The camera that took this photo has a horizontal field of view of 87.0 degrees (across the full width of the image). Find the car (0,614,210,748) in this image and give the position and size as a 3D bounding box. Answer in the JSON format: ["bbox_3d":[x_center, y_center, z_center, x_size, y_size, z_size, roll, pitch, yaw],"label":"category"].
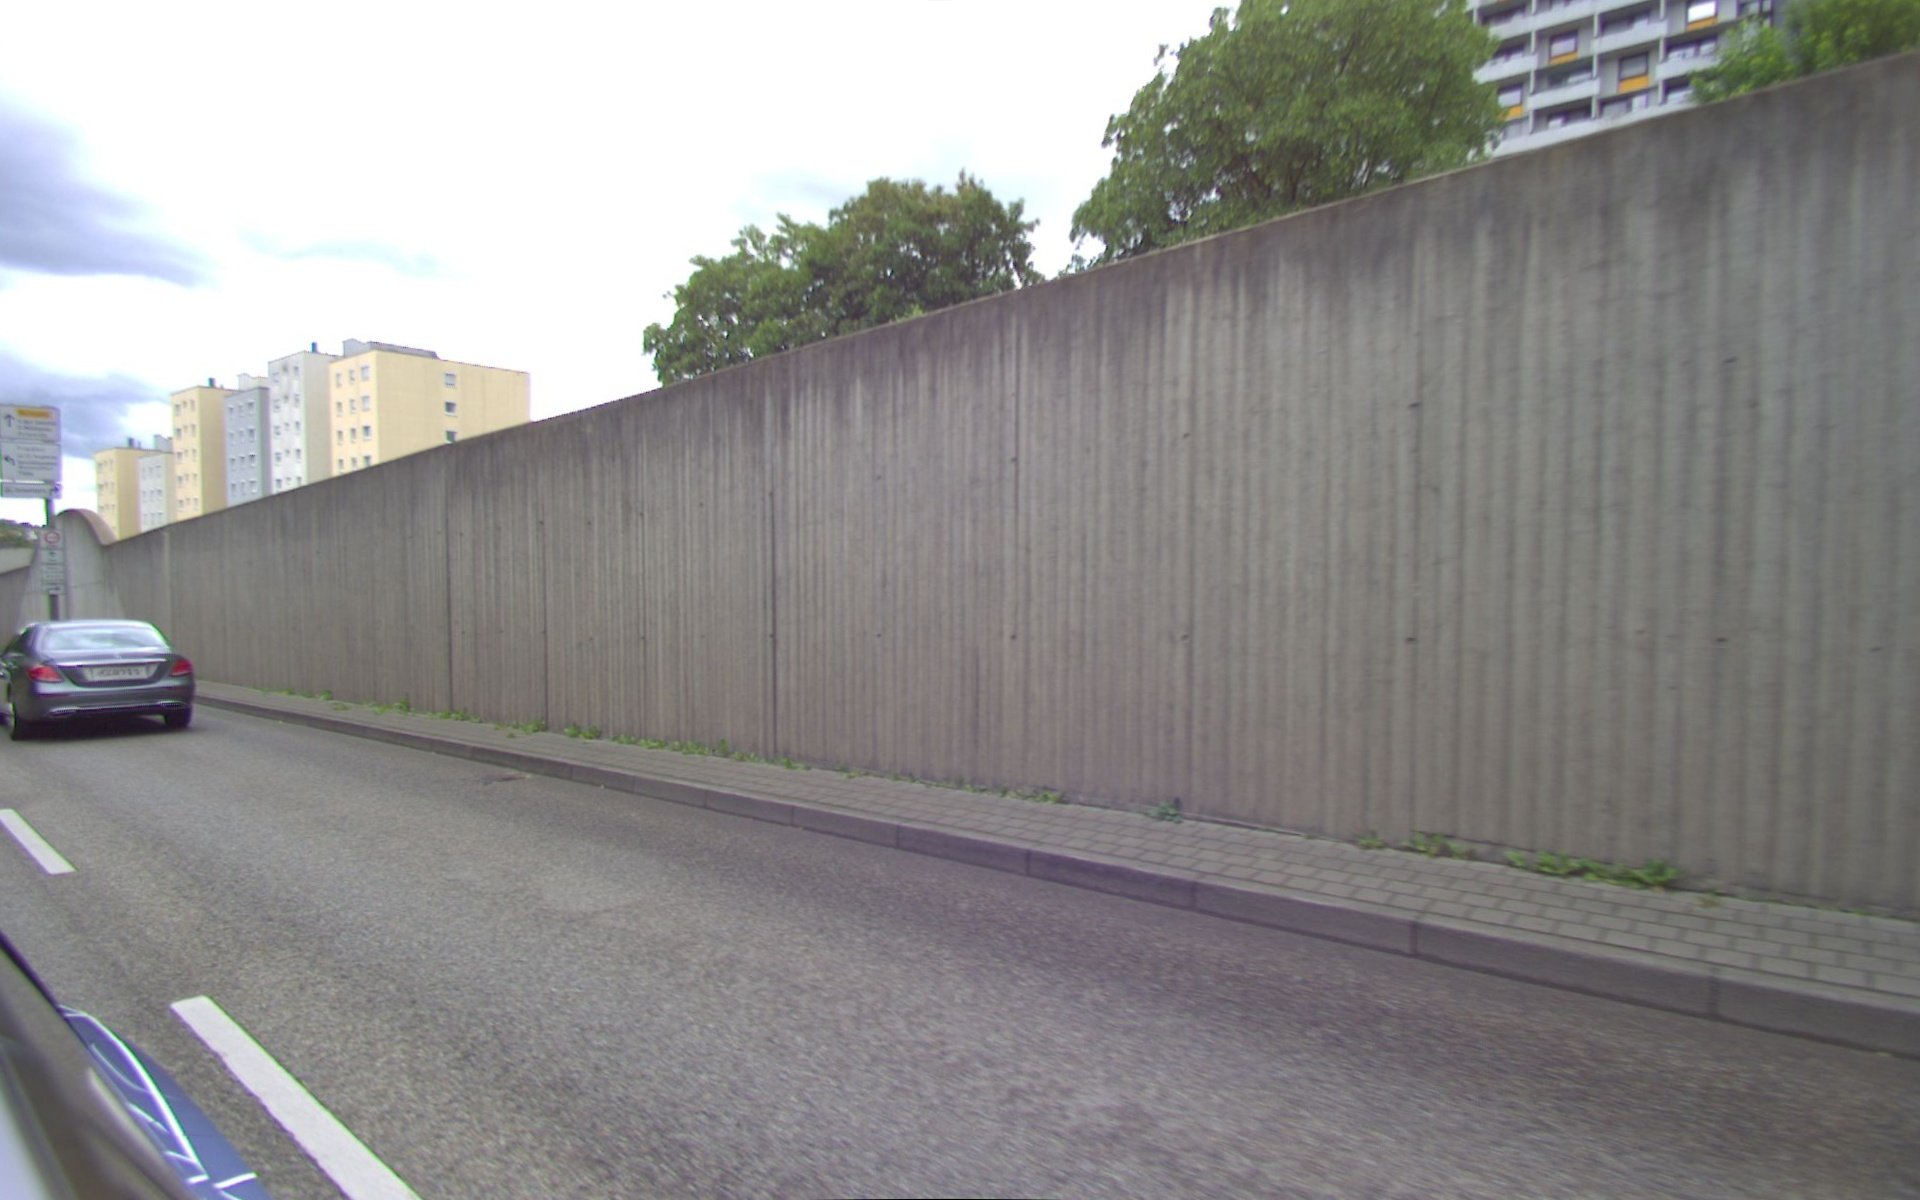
[{"bbox_3d":[-12.006,0.978,13.829,4.821,1.495,1.873,-1,-1,41],"label":"car"}]
